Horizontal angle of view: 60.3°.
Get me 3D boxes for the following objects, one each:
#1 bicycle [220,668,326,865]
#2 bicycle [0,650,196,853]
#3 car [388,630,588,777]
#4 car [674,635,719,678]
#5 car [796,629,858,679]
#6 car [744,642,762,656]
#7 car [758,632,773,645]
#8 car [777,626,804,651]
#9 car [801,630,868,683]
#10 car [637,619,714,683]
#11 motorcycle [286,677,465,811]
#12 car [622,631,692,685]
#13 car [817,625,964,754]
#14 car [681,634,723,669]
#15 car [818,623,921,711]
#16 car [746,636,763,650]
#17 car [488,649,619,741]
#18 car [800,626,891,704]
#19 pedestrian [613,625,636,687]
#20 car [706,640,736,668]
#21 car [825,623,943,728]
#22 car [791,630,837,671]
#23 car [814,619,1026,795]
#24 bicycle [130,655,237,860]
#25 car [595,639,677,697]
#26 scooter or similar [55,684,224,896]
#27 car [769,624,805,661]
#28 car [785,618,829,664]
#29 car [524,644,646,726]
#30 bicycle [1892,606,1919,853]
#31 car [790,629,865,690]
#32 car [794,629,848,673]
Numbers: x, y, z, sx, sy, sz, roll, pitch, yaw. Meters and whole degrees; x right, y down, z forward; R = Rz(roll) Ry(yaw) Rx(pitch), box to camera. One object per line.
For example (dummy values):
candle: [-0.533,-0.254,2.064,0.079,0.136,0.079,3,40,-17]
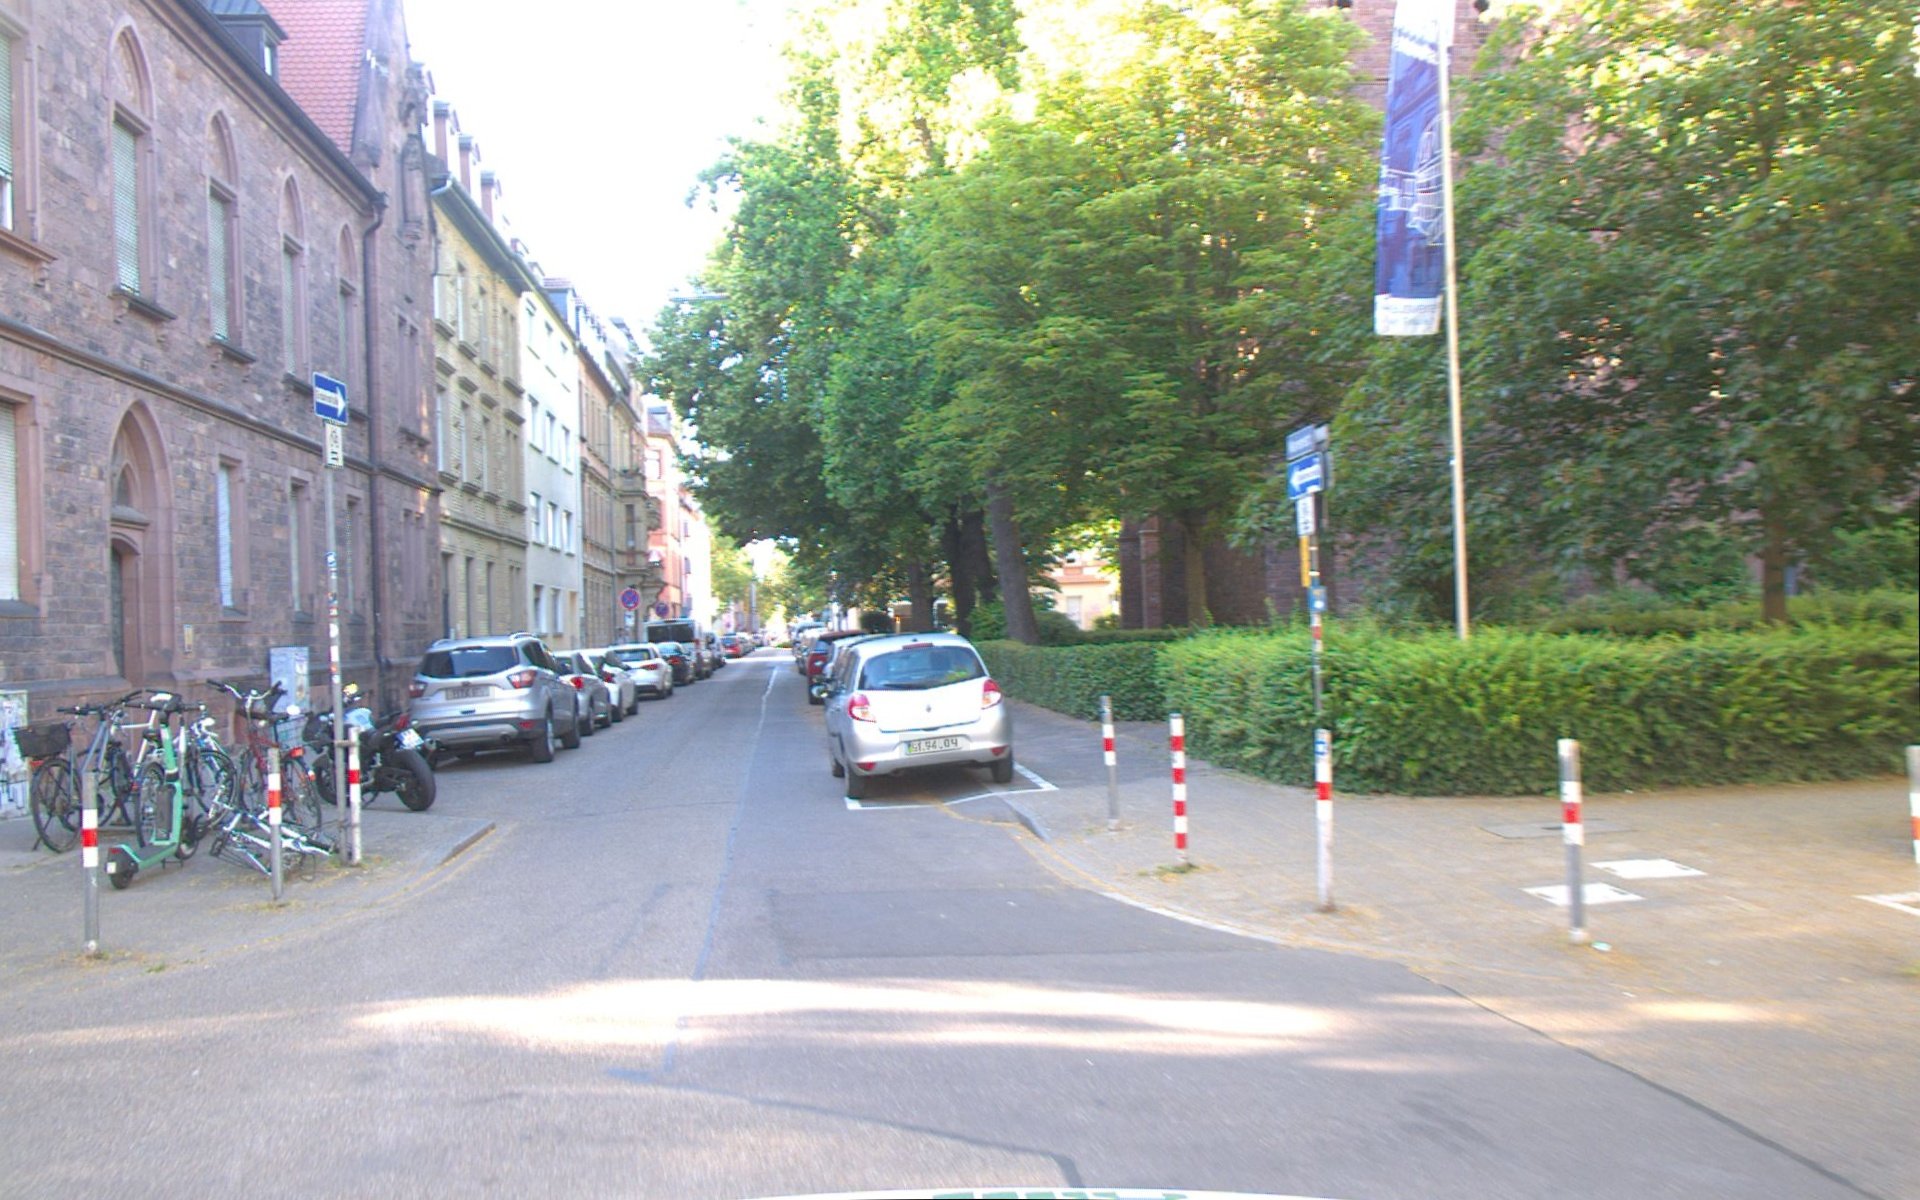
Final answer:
bicycle: [-5.442,1.252,13.194,0.673,1.368,2.486,-2,-1,-21]
bicycle: [-7.133,1.163,13.579,0.670,1.448,2.794,-2,-1,-6]
car: [-6.417,1.355,22.922,1.846,1.737,3.995,-4,-1,-5]
car: [-11.657,2.490,73.367,1.759,1.601,3.994,-2,2,-7]
car: [-4.743,1.896,58.566,1.956,1.601,3.993,-2,-1,-7]
car: [-24.821,5.866,198.383,1.955,1.676,3.994,-2,-1,-6]
car: [-26.924,5.335,229.200,1.955,1.676,3.994,-2,-1,-6]
car: [-12.878,2.890,125.658,1.956,1.758,3.994,-3,-1,-6]
car: [-4.155,1.829,54.102,1.956,1.601,3.993,-2,-1,-7]
car: [-10.360,1.846,60.658,2.264,2.151,5.163,-2,-1,-5]
motorcycle: [-5.864,1.415,16.513,2.270,1.228,0.662,-4,-2,42]
car: [-9.800,1.855,53.731,1.956,1.601,3.993,-2,-1,-7]
car: [-1.053,1.183,22.974,1.690,1.549,3.993,-2,-1,-7]
car: [-12.629,2.518,81.135,1.867,1.601,3.993,-2,-1,-7]
car: [-1.907,1.318,33.764,1.806,1.624,3.994,-2,-1,-7]
car: [-25.695,5.343,206.919,1.955,1.676,3.994,-2,-1,-6]
car: [-7.126,1.625,29.350,1.692,1.417,3.994,-2,-1,-6]
car: [-2.718,1.484,38.525,1.858,1.654,3.993,-2,-1,-7]
pedestrian: [-11.381,1.903,56.071,0.673,2.049,0.689,-2,-2,-14]
car: [-15.944,3.618,110.445,1.913,1.739,3.993,-2,-1,-8]
car: [-1.380,1.260,28.607,1.708,1.601,3.993,-2,-1,-7]
car: [-6.179,2.125,69.877,1.759,1.601,3.993,-2,-1,-7]
car: [-0.537,1.032,17.475,1.692,1.549,3.992,-3,-1,-9]
bicycle: [-6.142,1.176,13.165,0.565,1.448,2.486,-2,-1,-21]
car: [-8.470,1.755,43.470,1.737,1.377,3.994,-2,-1,-7]
scooter or similar: [-5.571,1.256,11.301,0.519,1.299,1.300,-2,-1,-3]
car: [-8.398,2.057,80.216,1.657,1.758,3.993,0,-1,-7]
car: [-8.170,2.180,88.261,2.120,2.295,4.518,-2,-1,-7]
car: [-7.592,1.683,33.834,1.846,1.435,3.995,-4,-1,-5]
bicycle: [6.361,0.722,10.201,0.762,1.395,2.116,-3,-1,36]
car: [-3.908,1.719,48.311,1.956,1.601,3.993,-2,-1,-7]
car: [-5.547,2.010,65.573,1.956,1.601,3.993,-2,-1,-7]
